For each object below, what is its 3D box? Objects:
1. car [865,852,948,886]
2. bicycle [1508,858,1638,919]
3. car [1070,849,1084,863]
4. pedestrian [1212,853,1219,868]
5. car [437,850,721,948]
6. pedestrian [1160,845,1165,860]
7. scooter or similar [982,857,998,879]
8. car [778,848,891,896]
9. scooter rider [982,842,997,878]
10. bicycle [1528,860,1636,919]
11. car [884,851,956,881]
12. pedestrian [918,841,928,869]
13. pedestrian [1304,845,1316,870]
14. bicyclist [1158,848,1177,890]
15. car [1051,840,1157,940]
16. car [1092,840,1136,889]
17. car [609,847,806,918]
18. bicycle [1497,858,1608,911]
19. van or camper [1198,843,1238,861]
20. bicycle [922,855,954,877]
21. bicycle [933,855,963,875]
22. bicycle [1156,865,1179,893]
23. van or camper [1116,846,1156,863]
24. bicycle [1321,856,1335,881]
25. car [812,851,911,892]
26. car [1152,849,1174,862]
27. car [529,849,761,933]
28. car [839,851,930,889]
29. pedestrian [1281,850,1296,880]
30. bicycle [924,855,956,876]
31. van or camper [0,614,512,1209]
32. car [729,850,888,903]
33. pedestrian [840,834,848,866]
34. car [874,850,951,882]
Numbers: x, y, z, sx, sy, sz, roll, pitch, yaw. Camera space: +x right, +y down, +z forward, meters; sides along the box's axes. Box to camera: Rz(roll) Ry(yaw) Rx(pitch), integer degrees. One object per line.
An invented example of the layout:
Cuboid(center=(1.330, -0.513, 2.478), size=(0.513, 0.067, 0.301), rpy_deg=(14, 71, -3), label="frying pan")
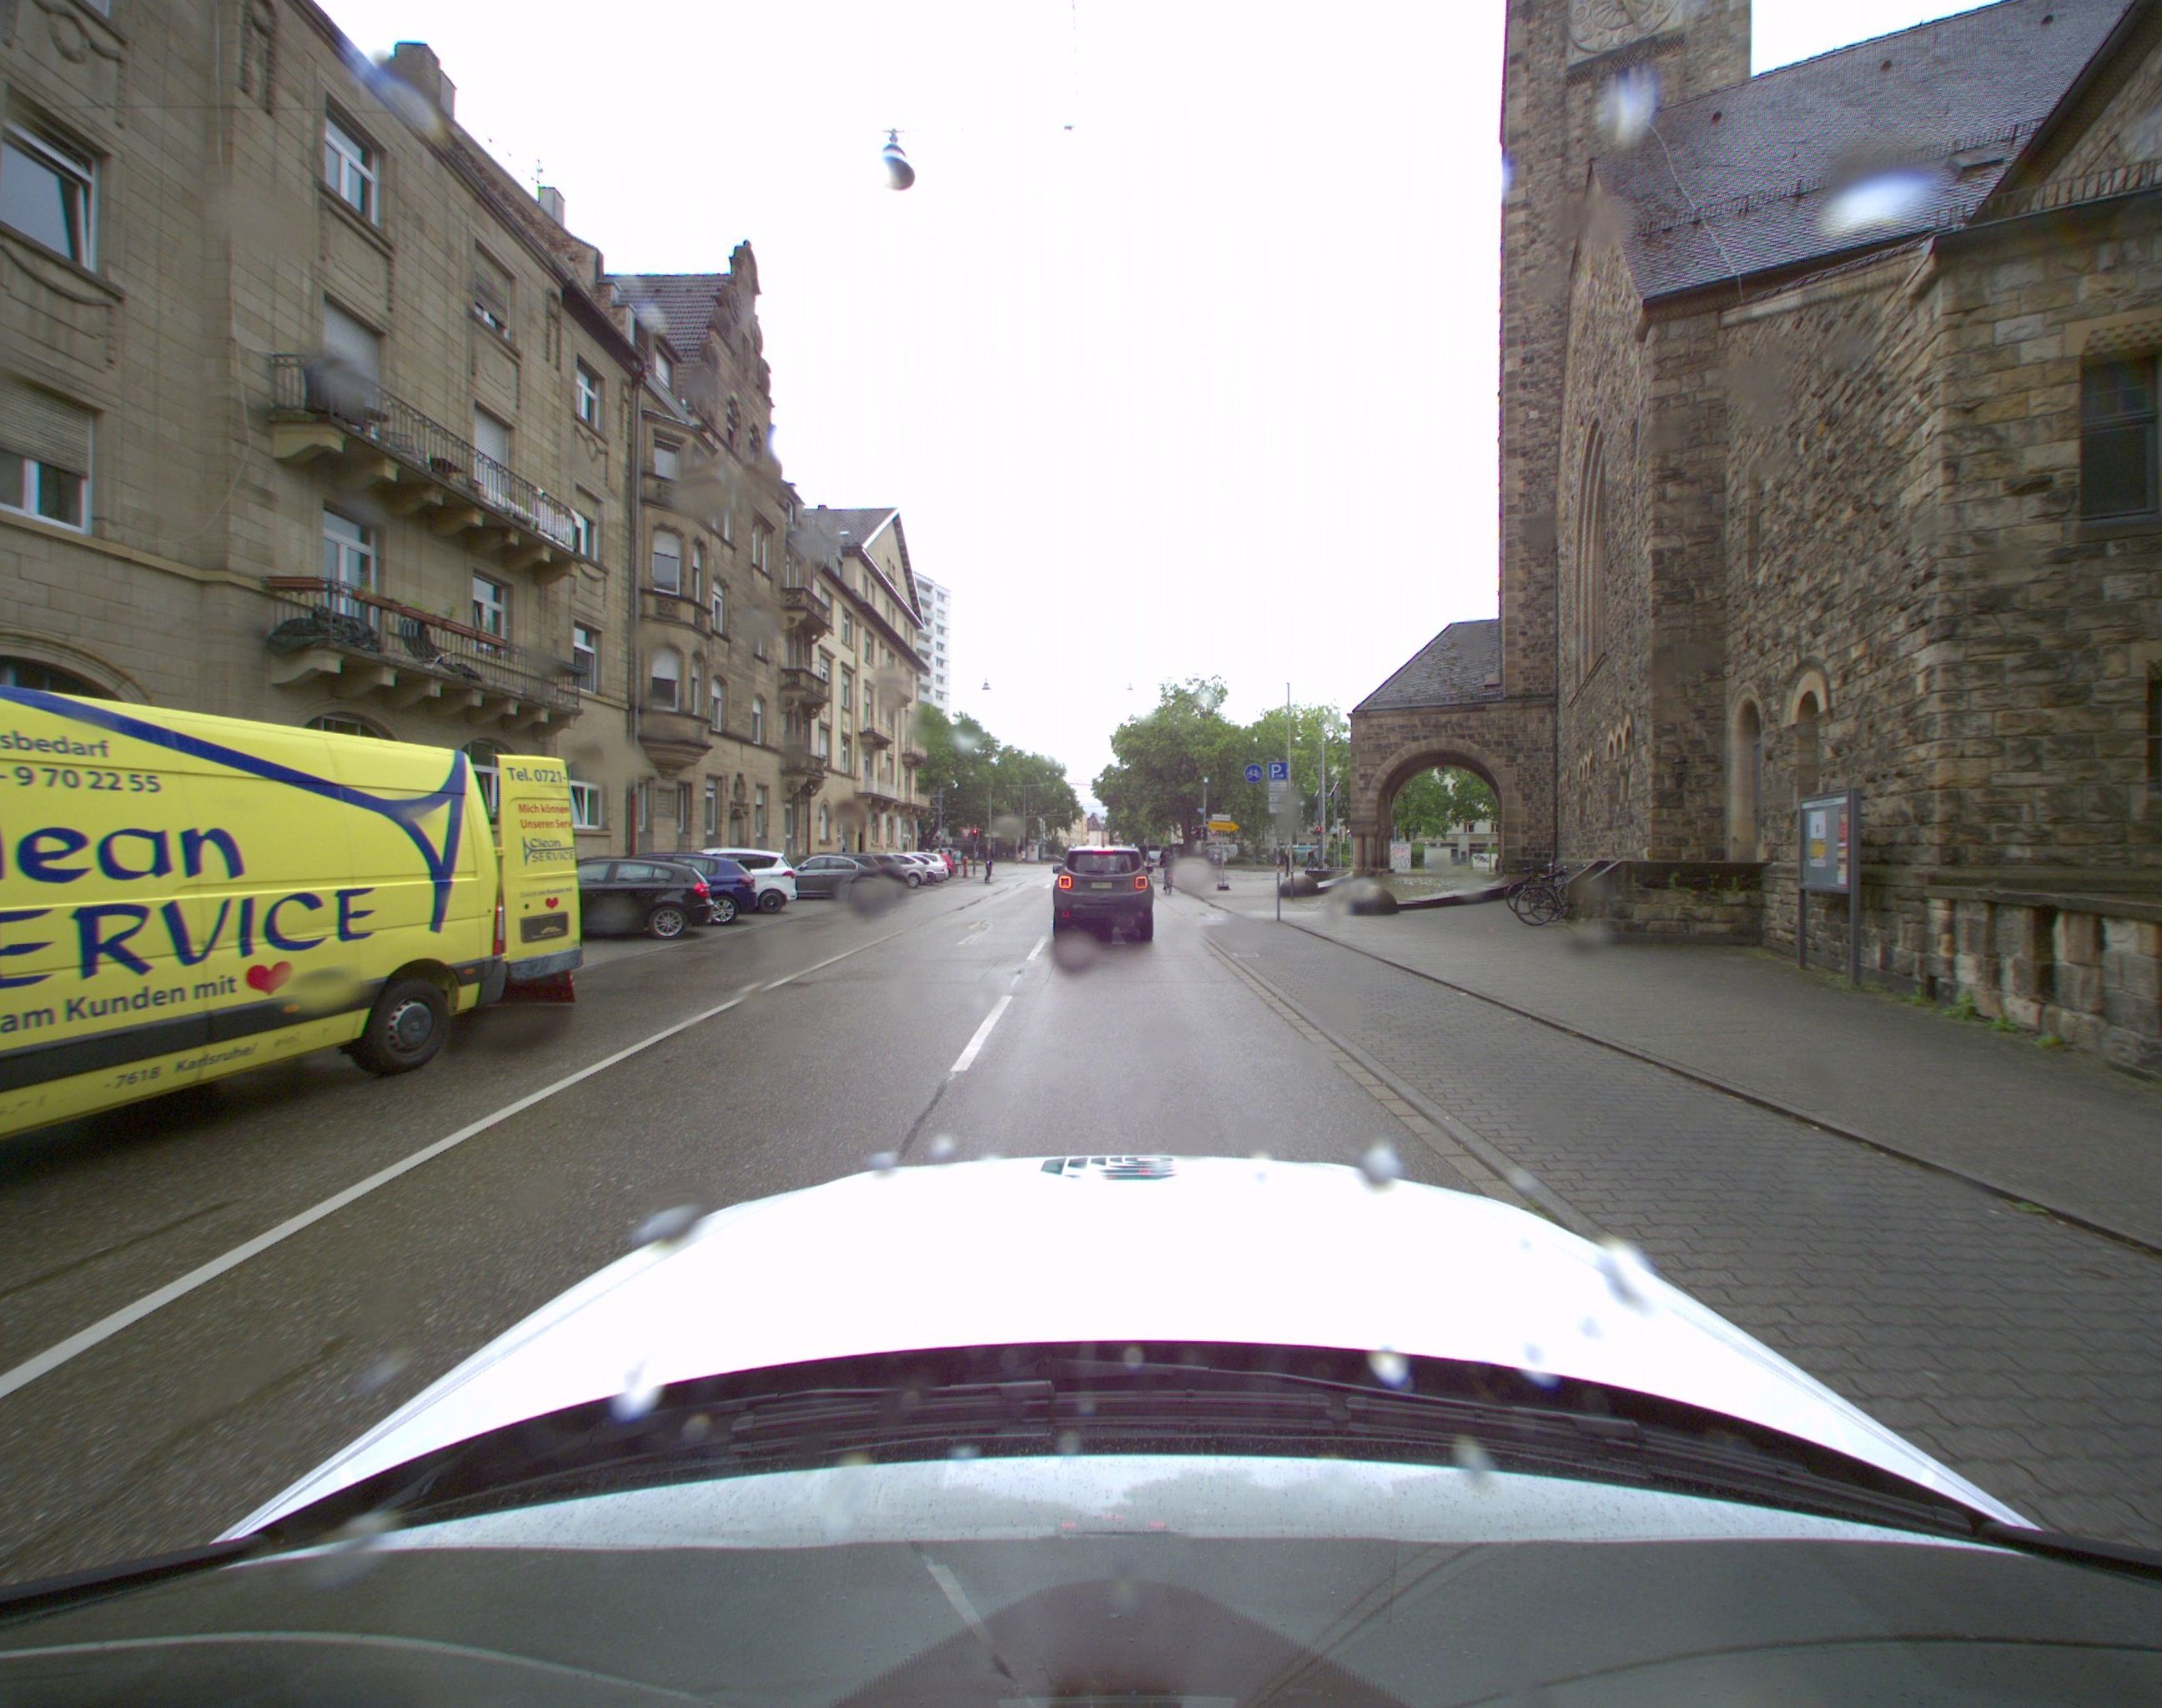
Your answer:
Cuboid(center=(-8.203, 0.669, 38.401), size=(3.418, 1.558, 1.687), rpy_deg=(0, 0, -37), label="car")
Cuboid(center=(9.071, 0.638, 15.077), size=(1.969, 1.054, 0.515), rpy_deg=(-2, -1, 16), label="bicycle")
Cuboid(center=(-0.537, 0.260, 100.255), size=(1.716, 1.739, 3.728), rpy_deg=(0, 0, -1), label="car")
Cuboid(center=(13.986, 0.661, 84.612), size=(0.607, 1.603, 0.497), rpy_deg=(0, 0, 27), label="pedestrian")
Cuboid(center=(-8.631, 0.699, 14.414), size=(4.053, 1.512, 1.783), rpy_deg=(0, 0, -27), label="car")
Cuboid(center=(10.798, -0.170, 108.096), size=(0.646, 2.013, 0.484), rpy_deg=(0, 0, 15), label="pedestrian")
Cuboid(center=(-4.959, 0.750, 44.357), size=(0.698, 1.165, 1.385), rpy_deg=(-1, 0, 0), label="scooter or similar")
Cuboid(center=(-8.797, 0.605, 29.164), size=(3.570, 1.598, 1.588), rpy_deg=(0, 0, -37), label="car")
Cuboid(center=(-4.964, 0.330, 44.301), size=(0.708, 1.935, 0.503), rpy_deg=(-1, 0, 0), label="scooter rider")
Cuboid(center=(9.784, 0.690, 15.959), size=(1.695, 1.111, 0.564), rpy_deg=(-2, -1, 16), label="bicycle")
Cuboid(center=(-8.713, 0.605, 44.164), size=(3.418, 1.558, 1.687), rpy_deg=(0, 0, -37), label="car")
Cuboid(center=(-11.735, 0.076, 60.392), size=(0.565, 2.013, 0.655), rpy_deg=(0, 0, 2), label="pedestrian")
Cuboid(center=(16.310, 0.235, 58.059), size=(0.779, 1.759, 0.950), rpy_deg=(-1, 0, 17), label="pedestrian")
Cuboid(center=(3.417, 0.578, 32.270), size=(0.684, 1.617, 0.884), rpy_deg=(-1, 0, 1), label="bicyclist")
Cuboid(center=(0.450, 0.609, 15.791), size=(1.768, 1.687, 3.849), rpy_deg=(-1, 0, 2), label="car")
Cuboid(center=(1.430, 0.421, 35.086), size=(1.763, 2.013, 4.002), rpy_deg=(0, 0, 2), label="car")
Cuboid(center=(-9.019, 0.619, 19.804), size=(4.063, 1.555, 1.778), rpy_deg=(0, 0, -38), label="car")
Cuboid(center=(10.359, 0.662, 17.968), size=(1.970, 1.105, 0.694), rpy_deg=(-2, -1, 13), label="bicycle")
Cuboid(center=(18.409, -0.281, 109.756), size=(5.232, 2.315, 2.093), rpy_deg=(1, 0, 6), label="van or camper")
Cuboid(center=(-8.424, 0.681, 47.916), size=(1.757, 1.266, 0.522), rpy_deg=(0, 0, 0), label="bicycle")
Cuboid(center=(-8.342, 0.701, 51.055), size=(1.757, 1.266, 0.608), rpy_deg=(0, 0, 0), label="bicycle")
Cuboid(center=(3.418, 0.959, 32.302), size=(0.689, 1.021, 2.659), rpy_deg=(-1, 0, 2), label="bicycle")
Cuboid(center=(9.455, 0.139, 141.035), size=(6.465, 2.912, 2.510), rpy_deg=(0, 0, 29), label="van or camper")
Cuboid(center=(12.064, 0.685, 39.846), size=(0.327, 1.154, 2.080), rpy_deg=(0, 0, 8), label="bicycle")
Cuboid(center=(-8.636, 0.646, 32.142), size=(3.418, 1.558, 1.634), rpy_deg=(0, 0, -37), label="car")
Cuboid(center=(13.564, 0.262, 134.653), size=(3.410, 2.014, 1.554), rpy_deg=(-1, -1, 16), label="car")
Cuboid(center=(-8.930, 0.689, 16.985), size=(4.053, 1.573, 1.783), rpy_deg=(0, 0, -27), label="car")
Cuboid(center=(-8.455, 0.654, 35.151), size=(3.418, 1.558, 1.687), rpy_deg=(0, 0, -37), label="car")
Cuboid(center=(11.465, 0.582, 44.988), size=(0.778, 1.645, 0.657), rpy_deg=(-1, 0, 10), label="pedestrian")
Cuboid(center=(-8.515, 0.678, 49.151), size=(1.804, 1.266, 0.498), rpy_deg=(0, 0, 0), label="bicycle")
Cuboid(center=(-5.842, 0.261, 3.775), size=(2.189, 2.611, 5.941), rpy_deg=(-1, 0, 0), label="van or camper")
Cuboid(center=(-8.684, 0.660, 26.173), size=(4.572, 1.545, 1.669), rpy_deg=(0, 0, -41), label="car")
Cuboid(center=(-13.225, -0.224, 45.462), size=(0.365, 1.822, 0.347), rpy_deg=(-1, -1, 0), label="pedestrian")
Cuboid(center=(-8.518, 0.589, 41.203), size=(3.418, 1.558, 1.687), rpy_deg=(0, 0, -37), label="car")
